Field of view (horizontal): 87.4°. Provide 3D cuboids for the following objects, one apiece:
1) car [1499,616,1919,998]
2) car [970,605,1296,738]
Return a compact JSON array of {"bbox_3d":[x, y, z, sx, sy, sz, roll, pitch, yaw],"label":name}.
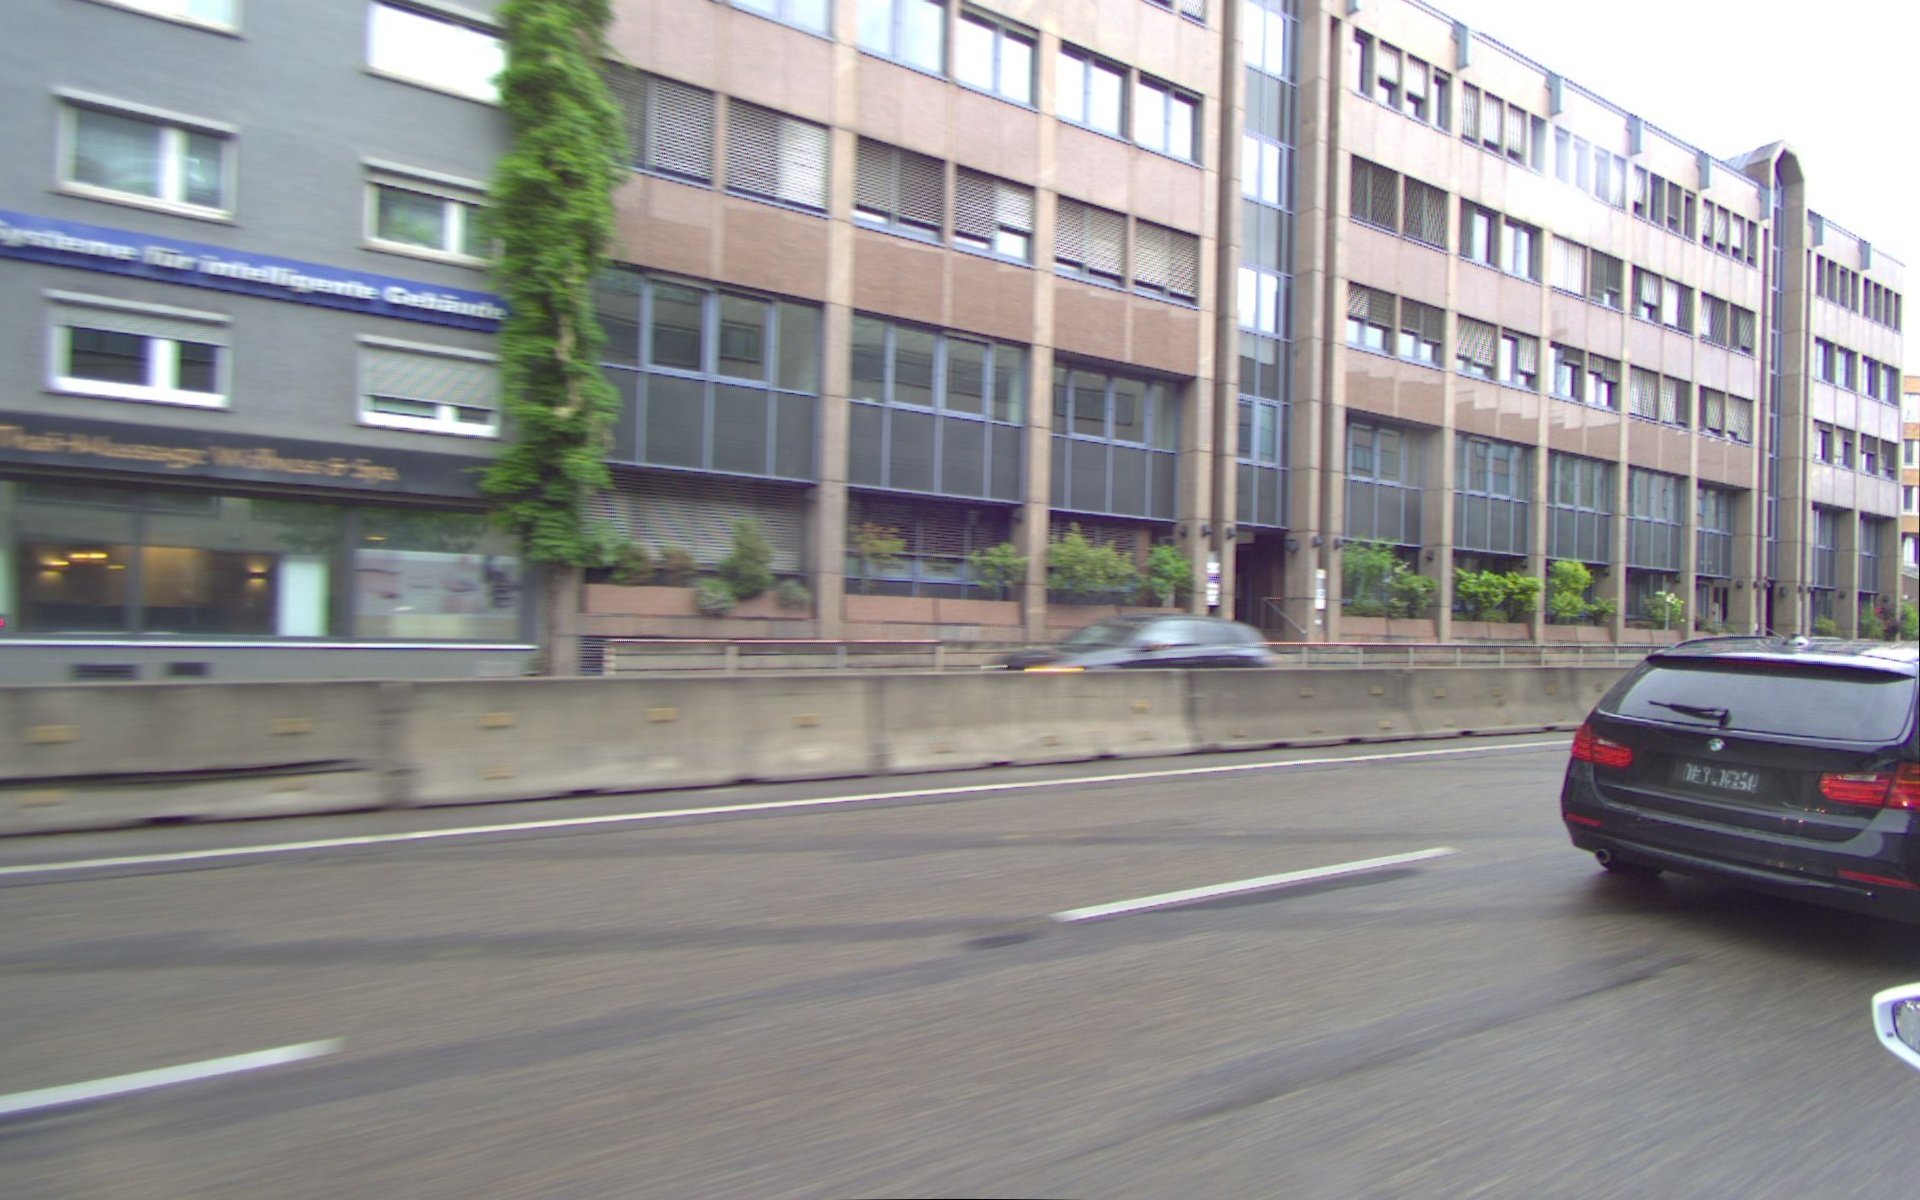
[{"bbox_3d":[5.304,0.889,5.778,4.560,1.445,1.782,2,0,-31],"label":"car"},{"bbox_3d":[2.401,0.908,13.617,4.183,1.553,1.851,2,-2,-31],"label":"car"}]
